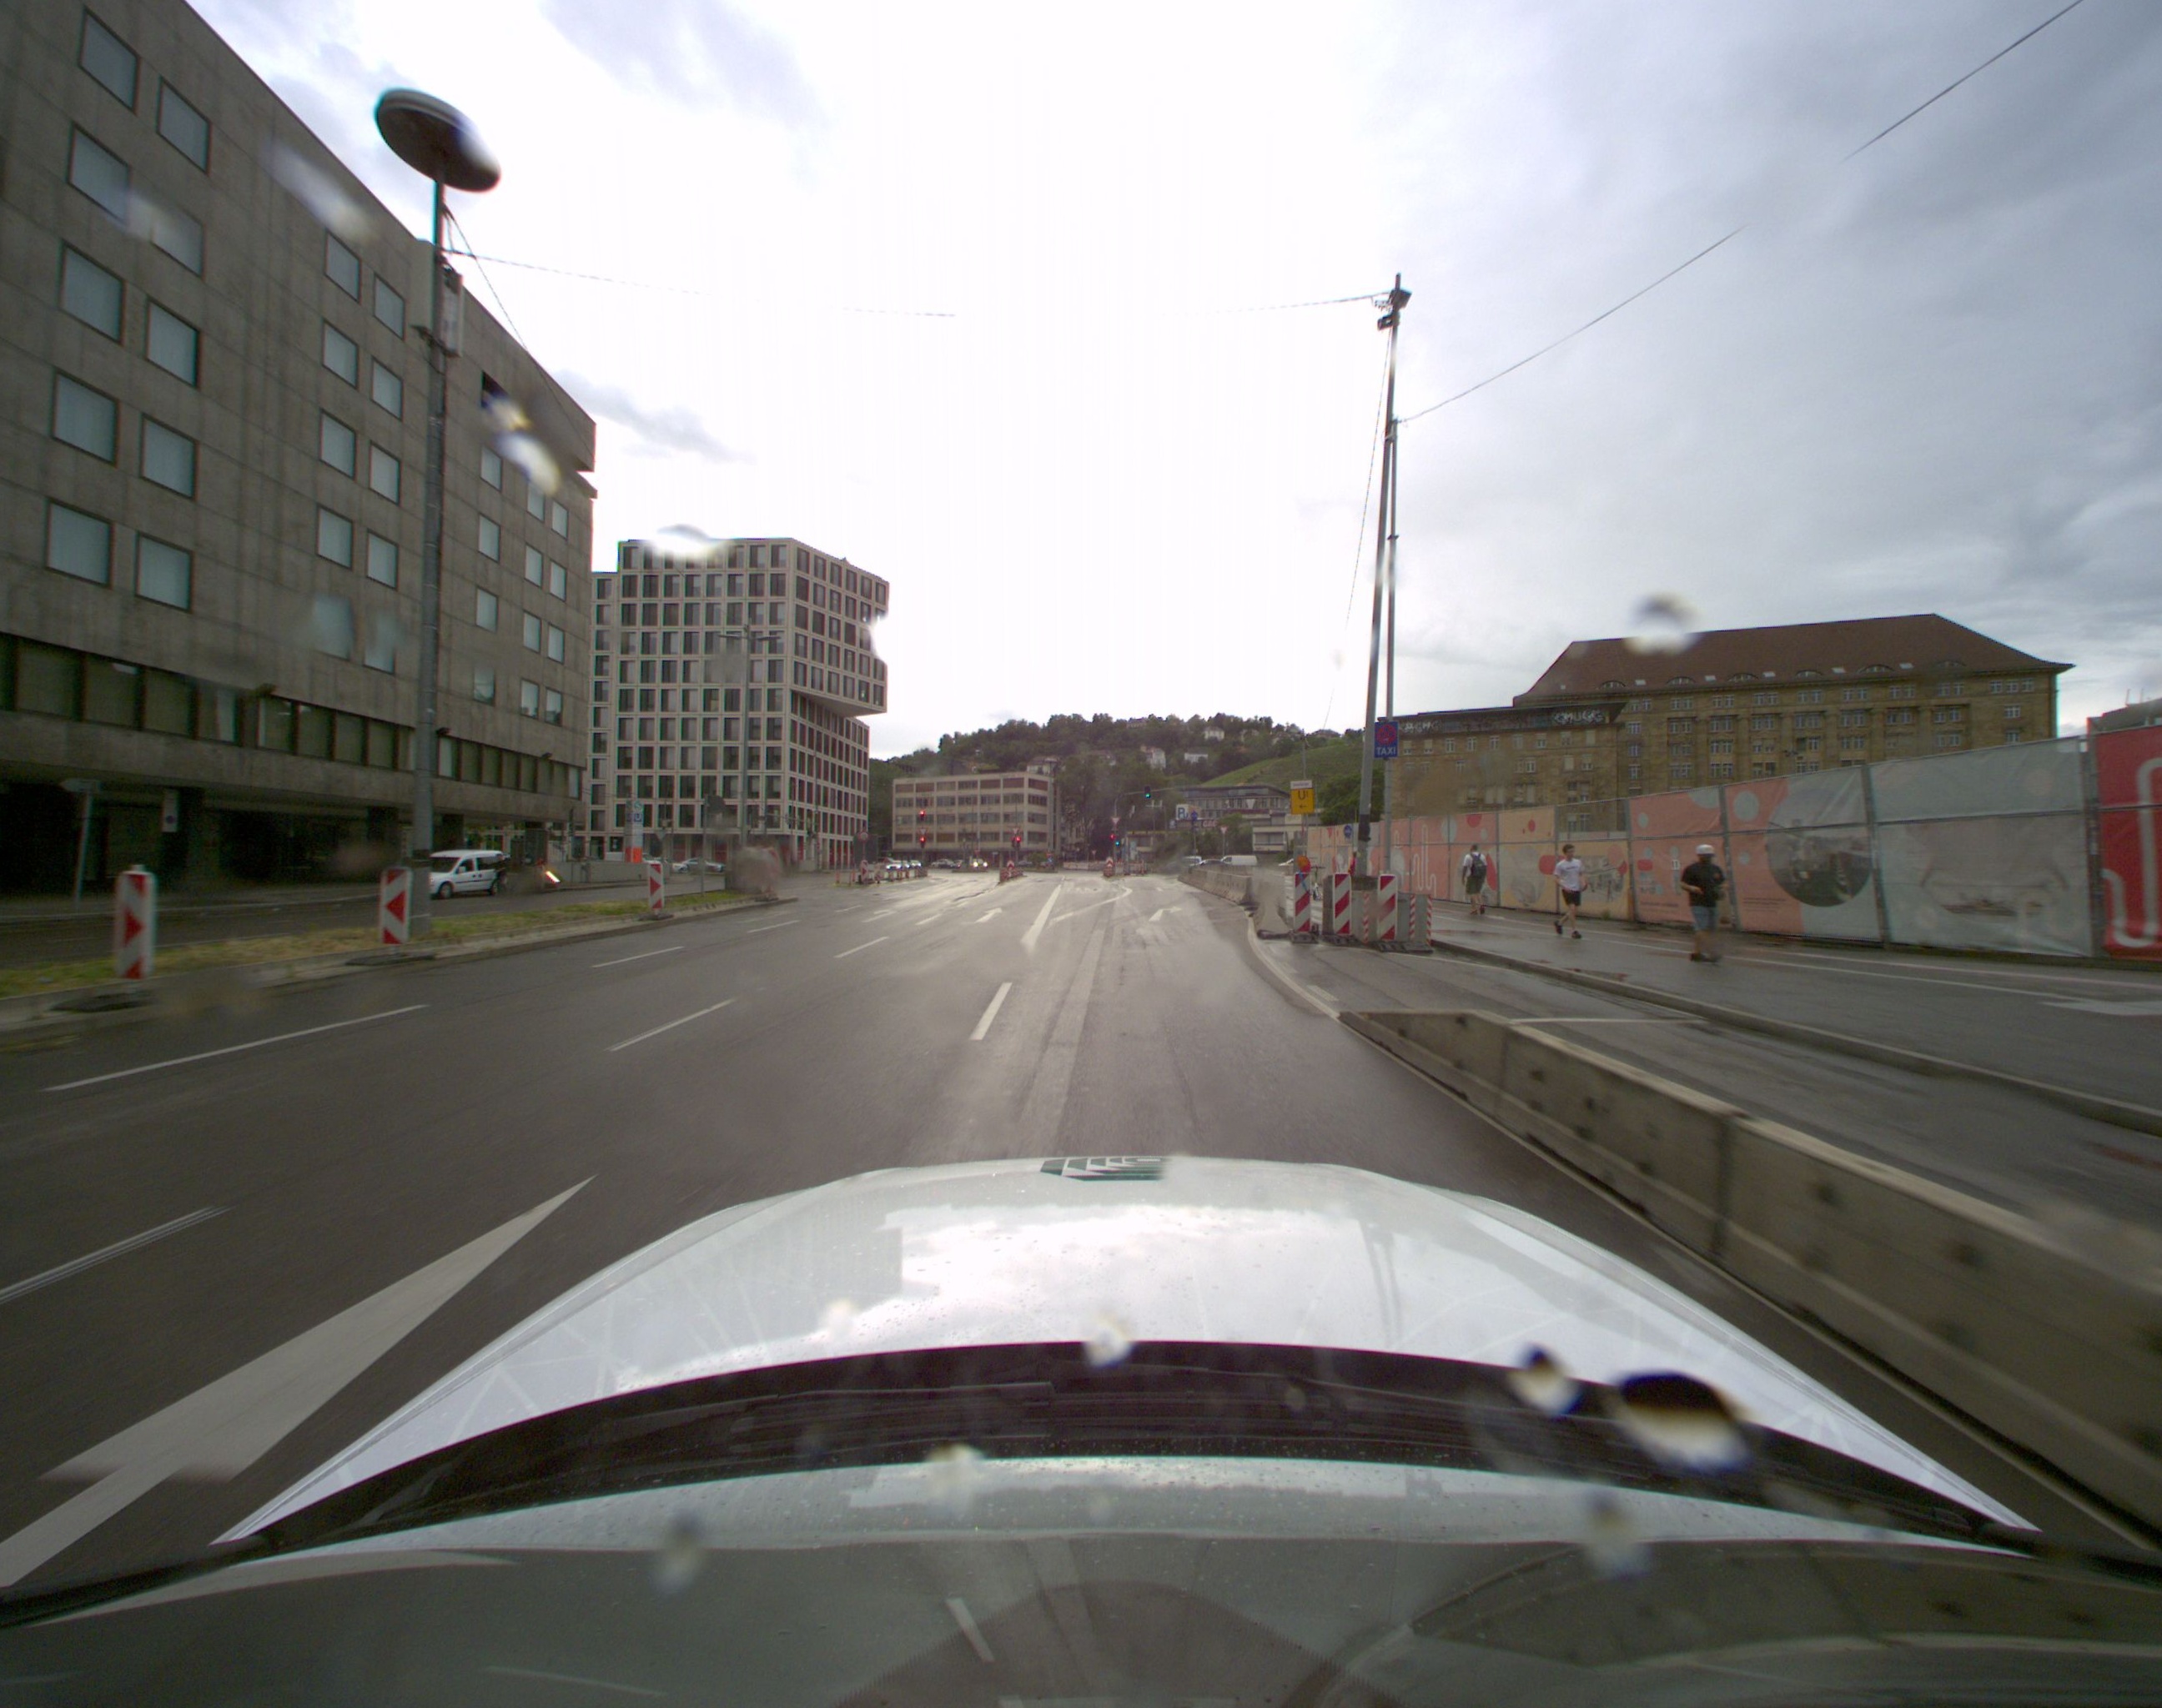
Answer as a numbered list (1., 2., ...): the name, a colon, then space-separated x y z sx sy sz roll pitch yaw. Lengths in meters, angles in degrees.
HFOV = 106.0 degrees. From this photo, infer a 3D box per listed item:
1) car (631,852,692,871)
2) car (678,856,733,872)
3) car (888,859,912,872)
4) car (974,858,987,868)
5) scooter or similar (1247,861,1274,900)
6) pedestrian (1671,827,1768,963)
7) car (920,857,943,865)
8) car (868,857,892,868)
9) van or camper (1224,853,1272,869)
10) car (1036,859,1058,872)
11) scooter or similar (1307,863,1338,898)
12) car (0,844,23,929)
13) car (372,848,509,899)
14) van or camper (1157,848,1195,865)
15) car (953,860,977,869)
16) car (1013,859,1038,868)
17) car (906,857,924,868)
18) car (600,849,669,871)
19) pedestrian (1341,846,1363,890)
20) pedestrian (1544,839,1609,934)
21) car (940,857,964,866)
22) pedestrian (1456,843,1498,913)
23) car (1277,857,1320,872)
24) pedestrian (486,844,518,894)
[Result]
1. car: -38.675 0.723 75.103 4.627 1.738 2.021 0 0 4
2. car: -37.564 0.980 81.479 4.621 1.598 2.023 0 0 9
3. car: -24.170 1.524 108.873 2.215 1.753 4.811 0 -1 0
4. car: -14.999 1.301 121.665 1.829 1.486 3.989 0 0 -8
5. scooter or similar: 5.861 0.842 26.615 0.671 1.214 1.574 0 0 6
6. pedestrian: 8.490 0.524 10.857 0.640 1.740 0.837 0 0 -1
7. car: -28.337 1.310 153.992 4.027 1.492 1.746 0 0 26
8. car: -32.532 1.353 132.002 3.949 1.816 1.817 0 0 40
9. van or camper: 19.467 0.784 94.994 5.181 1.894 1.887 0 0 -2
10. car: -5.257 1.756 125.083 2.005 2.013 3.964 0 0 -27
11. scooter or similar: 8.383 0.904 28.295 0.467 1.183 1.411 0 0 -9
12. car: -22.797 0.642 14.572 1.811 1.728 4.512 0 0 -1
13. car: -23.674 0.693 30.336 1.770 1.762 4.366 0 0 -3
14. van or camper: 11.083 0.281 95.174 4.230 1.979 1.850 0 0 -2
15. car: -19.013 1.650 133.244 3.949 1.486 1.847 0 0 41
16. car: -9.405 1.621 137.270 4.025 1.492 1.747 0 0 36
17. car: -27.070 1.339 132.623 1.810 1.816 3.963 0 0 -28
18. car: -39.281 0.561 71.683 5.041 1.904 2.091 0 0 7
19. pedestrian: 11.819 0.600 35.470 0.717 1.866 0.709 0 0 -1
20. pedestrian: 9.333 0.596 15.377 0.681 1.740 0.907 0 0 -1
21. car: -23.100 1.313 145.923 4.026 1.492 1.746 0 0 28
22. pedestrian: 10.726 0.638 22.084 0.701 1.866 0.990 0 0 1
23. car: 24.444 1.121 91.596 4.347 1.673 1.850 0 0 3
24. pedestrian: -22.457 0.576 31.600 0.690 1.886 0.795 0 0 -4
